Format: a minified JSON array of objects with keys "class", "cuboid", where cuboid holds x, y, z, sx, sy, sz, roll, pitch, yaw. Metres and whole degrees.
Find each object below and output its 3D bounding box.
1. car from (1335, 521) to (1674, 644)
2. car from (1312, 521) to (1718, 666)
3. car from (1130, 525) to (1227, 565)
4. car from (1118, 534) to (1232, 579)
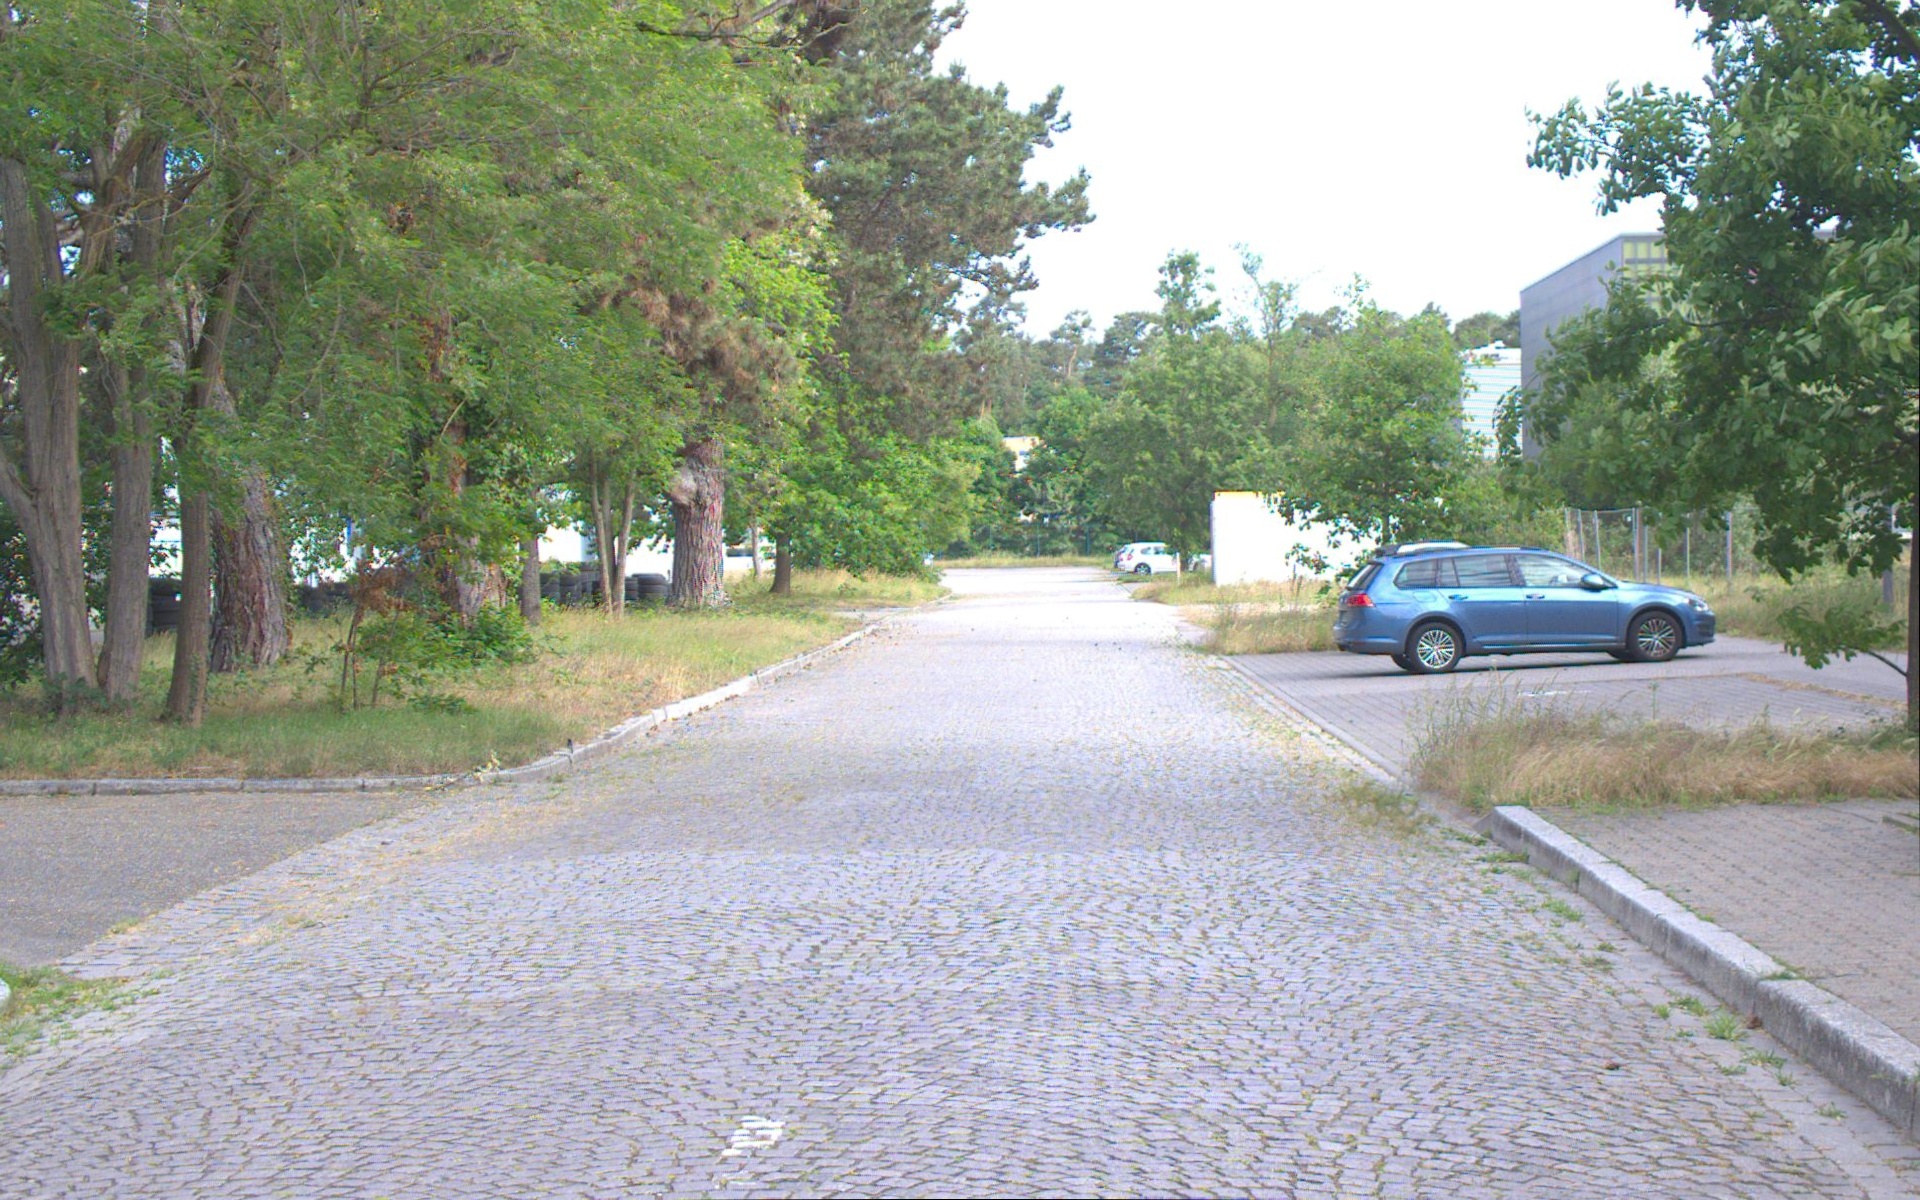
[{"class":"car","cuboid":[7.709,-0.267,48.980,4.518,1.526,2.000,-2,1,3]},{"class":"car","cuboid":[6.669,-0.102,41.649,4.517,1.526,2.000,-2,1,-1]},{"class":"car","cuboid":[9.914,-2.496,156.151,4.355,1.774,1.925,-1,1,3]},{"class":"car","cuboid":[8.428,-1.712,135.206,4.355,1.682,1.925,-1,1,1]}]
